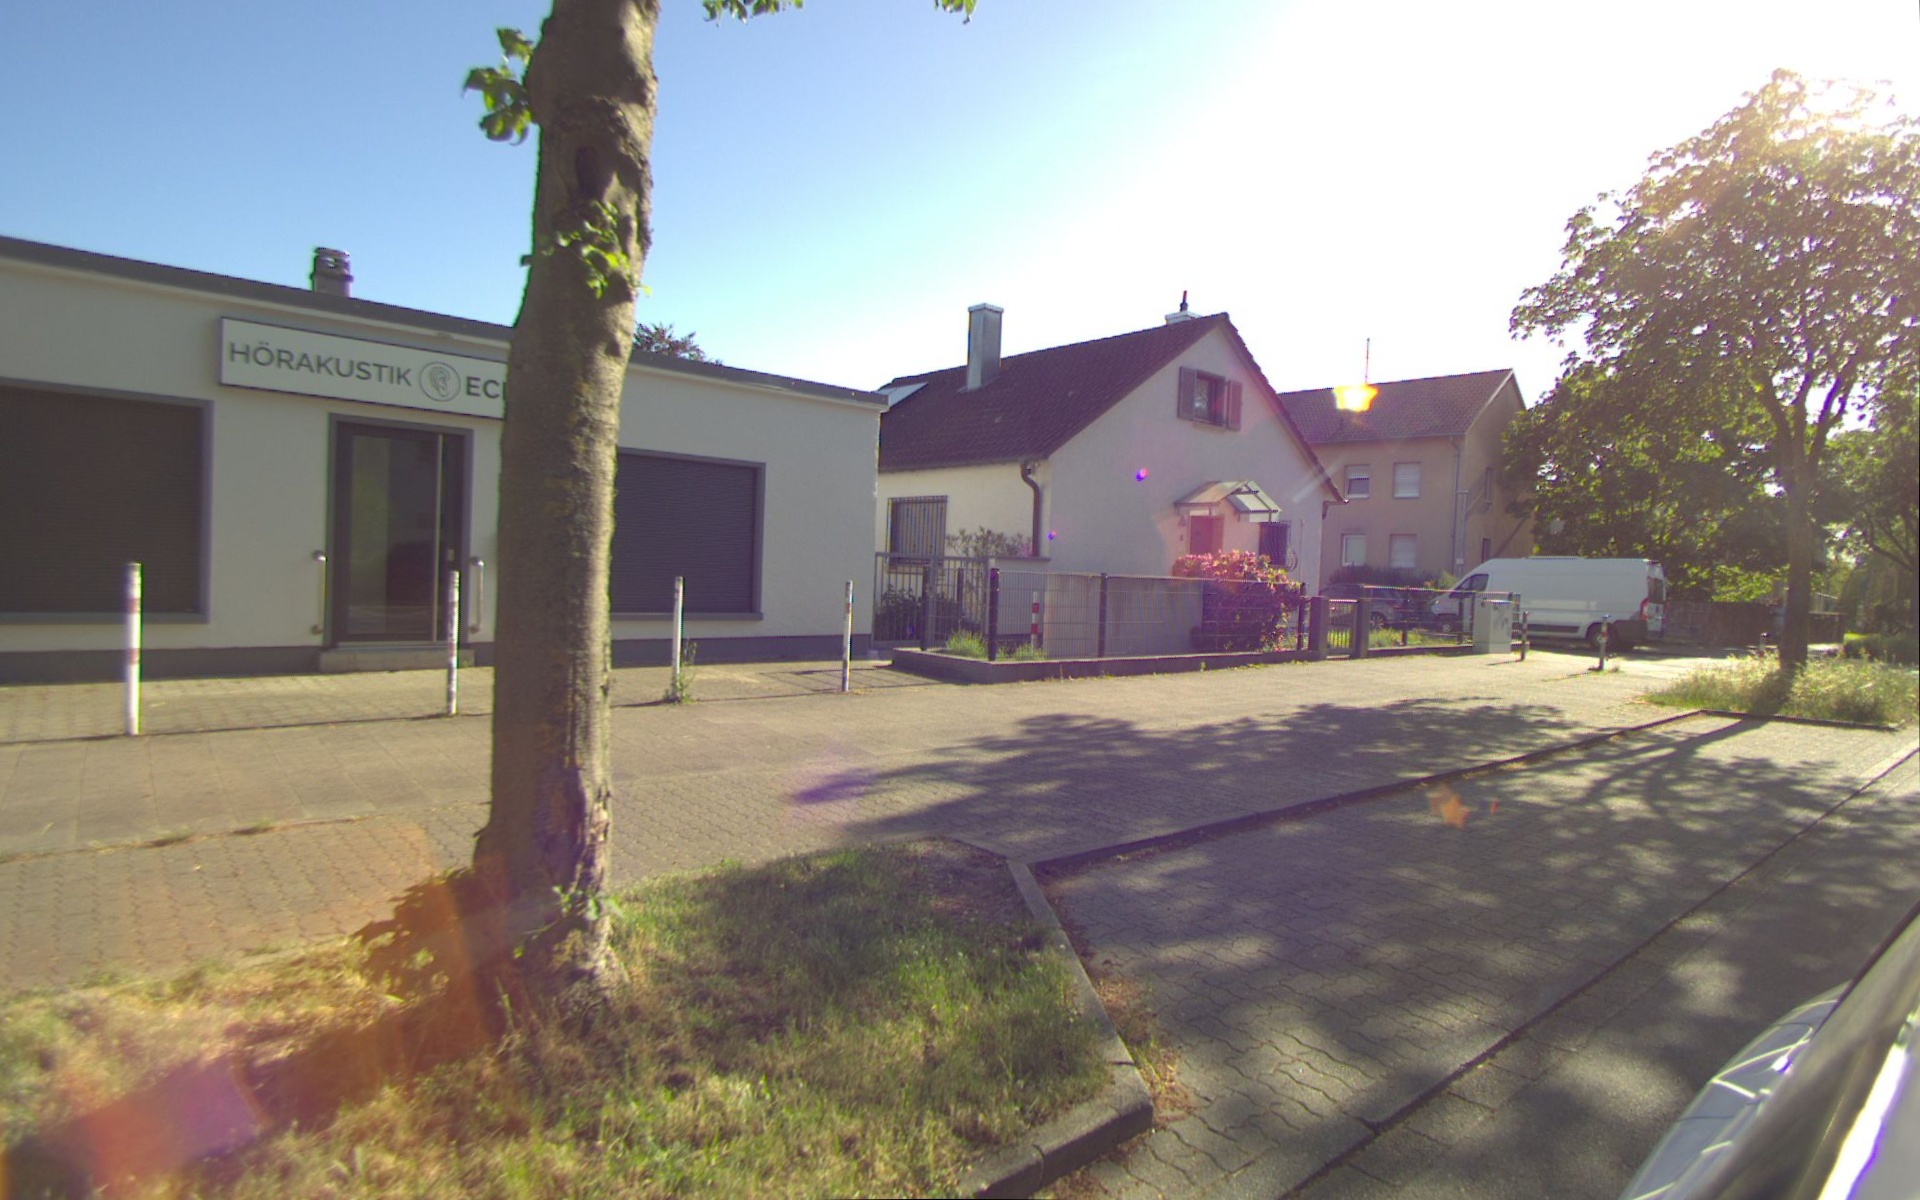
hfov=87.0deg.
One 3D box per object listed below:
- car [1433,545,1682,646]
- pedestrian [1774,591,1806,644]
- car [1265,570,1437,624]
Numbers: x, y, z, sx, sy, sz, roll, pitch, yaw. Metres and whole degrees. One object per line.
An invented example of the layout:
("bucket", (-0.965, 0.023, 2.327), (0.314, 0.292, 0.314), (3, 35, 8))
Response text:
("car", (16.734, -0.214, 28.607), (2.228, 2.570, 5.602), (1, 1, -43))
("pedestrian", (28.132, 0.598, 34.298), (0.601, 1.726, 0.638), (3, 3, -41))
("car", (12.727, -0.114, 33.151), (2.247, 1.602, 4.746), (2, -1, -43))
